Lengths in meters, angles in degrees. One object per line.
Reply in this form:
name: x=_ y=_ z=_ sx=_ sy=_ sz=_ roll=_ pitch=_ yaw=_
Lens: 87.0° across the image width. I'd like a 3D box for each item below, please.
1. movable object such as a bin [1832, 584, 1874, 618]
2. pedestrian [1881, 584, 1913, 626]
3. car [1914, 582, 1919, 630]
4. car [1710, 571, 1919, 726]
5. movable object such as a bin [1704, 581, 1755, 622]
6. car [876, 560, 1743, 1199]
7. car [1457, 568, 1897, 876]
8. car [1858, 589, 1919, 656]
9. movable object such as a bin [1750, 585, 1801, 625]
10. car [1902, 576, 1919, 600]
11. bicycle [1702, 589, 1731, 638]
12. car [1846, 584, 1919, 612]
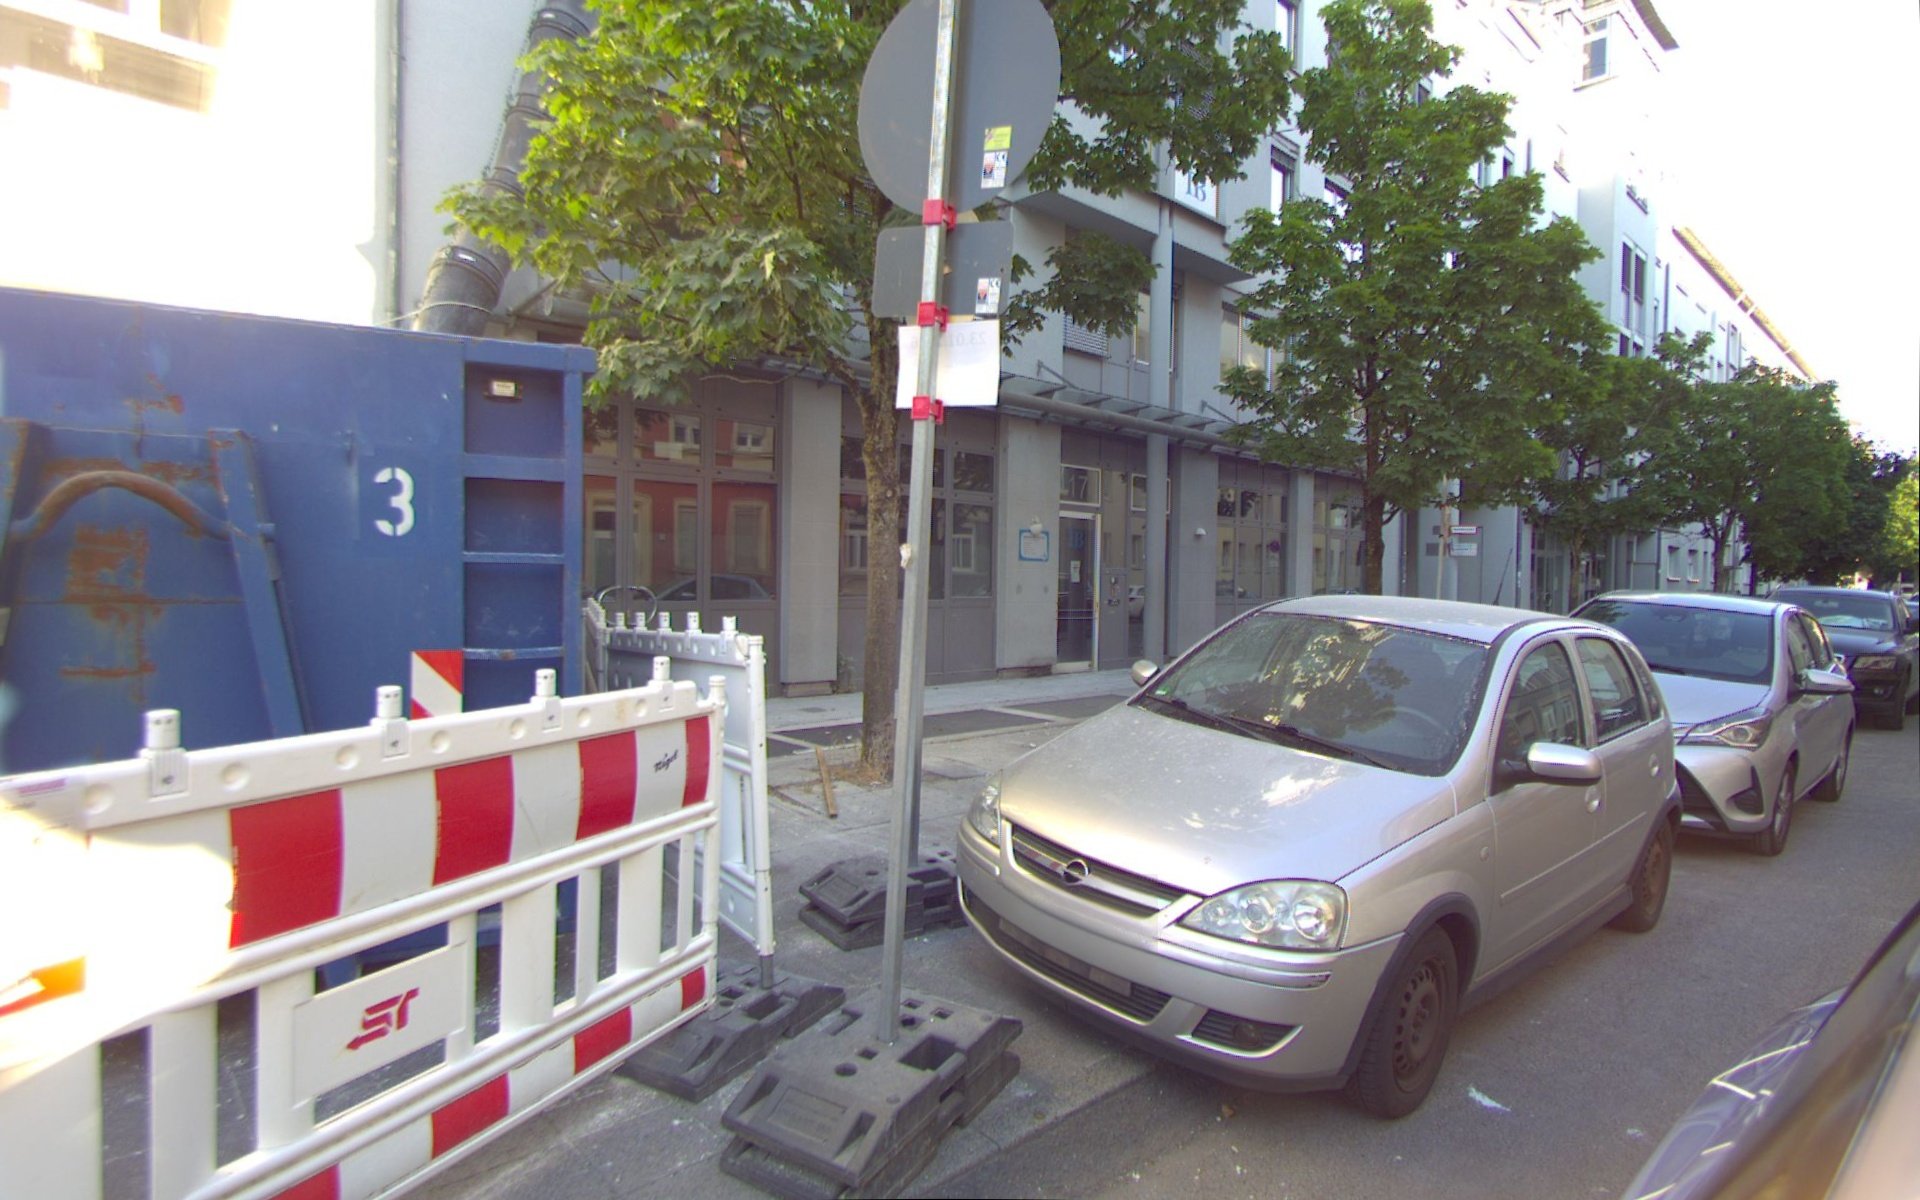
movable object such as a bin: x=40.429 y=0.025 z=45.830 sx=1.203 sy=1.454 sz=1.286 roll=0 pitch=3 yaw=-43
pedestrian: x=34.403 y=0.170 z=37.155 sx=0.800 sy=1.481 sz=0.857 roll=4 pitch=3 yaw=43
car: x=35.156 y=0.231 z=35.798 sx=4.646 sy=1.655 sz=1.873 roll=-1 pitch=4 yaw=-45
car: x=11.538 y=0.496 z=13.311 sx=4.360 sy=1.642 sz=1.888 roll=-1 pitch=4 yaw=-43
movable object such as a bin: x=28.495 y=0.050 z=37.482 sx=1.120 sy=1.454 sz=1.263 roll=0 pitch=3 yaw=-43
car: x=1.651 y=0.647 z=4.131 sx=3.664 sy=1.493 sz=1.680 roll=0 pitch=3 yaw=-41
car: x=5.232 y=0.602 z=7.186 sx=3.902 sy=1.543 sz=1.679 roll=0 pitch=3 yaw=-42
car: x=23.236 y=0.513 z=24.531 sx=4.272 sy=1.446 sz=1.766 roll=-1 pitch=4 yaw=-43
movable object such as a bin: x=29.551 y=0.168 z=36.689 sx=1.120 sy=1.337 sz=1.263 roll=0 pitch=3 yaw=-43
car: x=96.945 y=-1.175 z=101.775 sx=2.147 sy=2.311 sz=6.135 roll=3 pitch=3 yaw=33
bicycle: x=19.511 y=0.329 z=26.121 sx=0.518 sy=1.182 sz=1.718 roll=3 pitch=3 yaw=36
car: x=60.161 y=-0.158 z=65.564 sx=1.968 sy=1.584 sz=3.991 roll=-1 pitch=4 yaw=-45
